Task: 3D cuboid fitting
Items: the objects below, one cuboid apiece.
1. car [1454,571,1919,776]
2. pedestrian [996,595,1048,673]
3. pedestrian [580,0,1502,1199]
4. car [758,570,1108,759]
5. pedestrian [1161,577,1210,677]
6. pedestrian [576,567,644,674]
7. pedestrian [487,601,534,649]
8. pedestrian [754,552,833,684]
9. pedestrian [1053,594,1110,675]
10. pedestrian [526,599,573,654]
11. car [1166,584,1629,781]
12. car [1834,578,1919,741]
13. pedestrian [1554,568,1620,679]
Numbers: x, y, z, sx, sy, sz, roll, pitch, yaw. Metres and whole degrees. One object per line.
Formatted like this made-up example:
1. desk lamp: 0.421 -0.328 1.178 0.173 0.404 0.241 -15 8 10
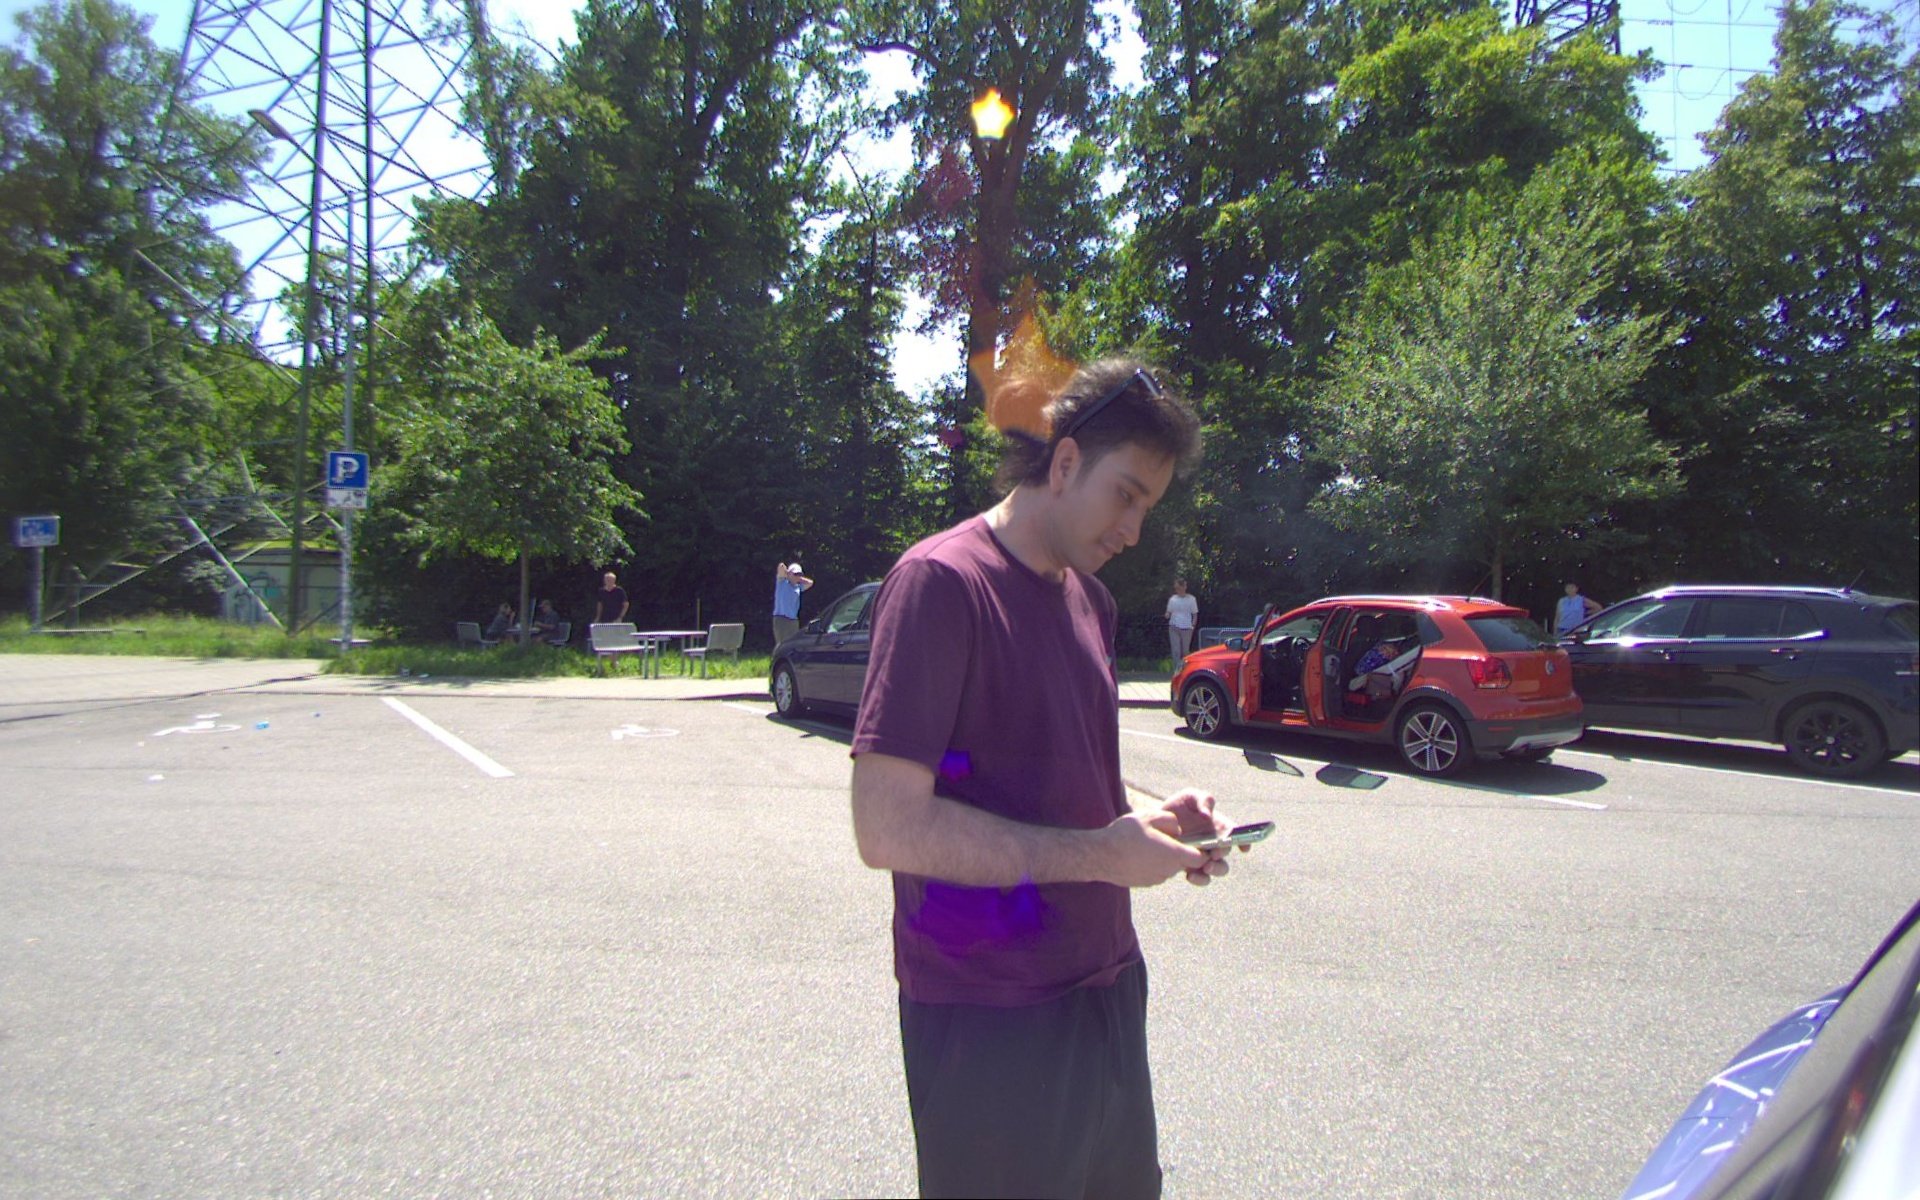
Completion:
1. car: 7.214 0.573 9.838 1.807 1.612 3.967 1 0 -38
2. pedestrian: 1.039 0.559 17.062 0.656 1.285 0.655 1 -1 -17
3. pedestrian: 0.126 0.444 1.354 0.828 1.797 0.926 0 -1 45
4. car: -0.478 0.541 10.700 1.809 1.588 4.017 1 0 -35
5. pedestrian: 3.766 0.434 16.885 0.764 1.614 0.806 0 -1 15
6. pedestrian: -6.230 0.353 18.056 0.708 1.851 0.897 0 -1 25
7. pedestrian: -10.222 0.550 23.017 0.796 1.062 0.714 1 -1 -43
8. pedestrian: -2.342 0.248 14.235 0.786 1.784 0.809 1 -1 -39
9. pedestrian: 2.020 0.569 16.881 0.656 1.311 0.832 1 -1 -17
10. pedestrian: -9.577 0.610 23.615 0.796 1.253 0.713 1 -1 -44
11. car: 3.933 0.618 9.651 1.746 1.475 3.710 1 0 -33
12. car: 10.935 0.597 9.386 1.745 1.612 3.972 1 0 -32
13. pedestrian: 9.483 0.341 15.304 0.712 1.614 0.797 0 -1 42
